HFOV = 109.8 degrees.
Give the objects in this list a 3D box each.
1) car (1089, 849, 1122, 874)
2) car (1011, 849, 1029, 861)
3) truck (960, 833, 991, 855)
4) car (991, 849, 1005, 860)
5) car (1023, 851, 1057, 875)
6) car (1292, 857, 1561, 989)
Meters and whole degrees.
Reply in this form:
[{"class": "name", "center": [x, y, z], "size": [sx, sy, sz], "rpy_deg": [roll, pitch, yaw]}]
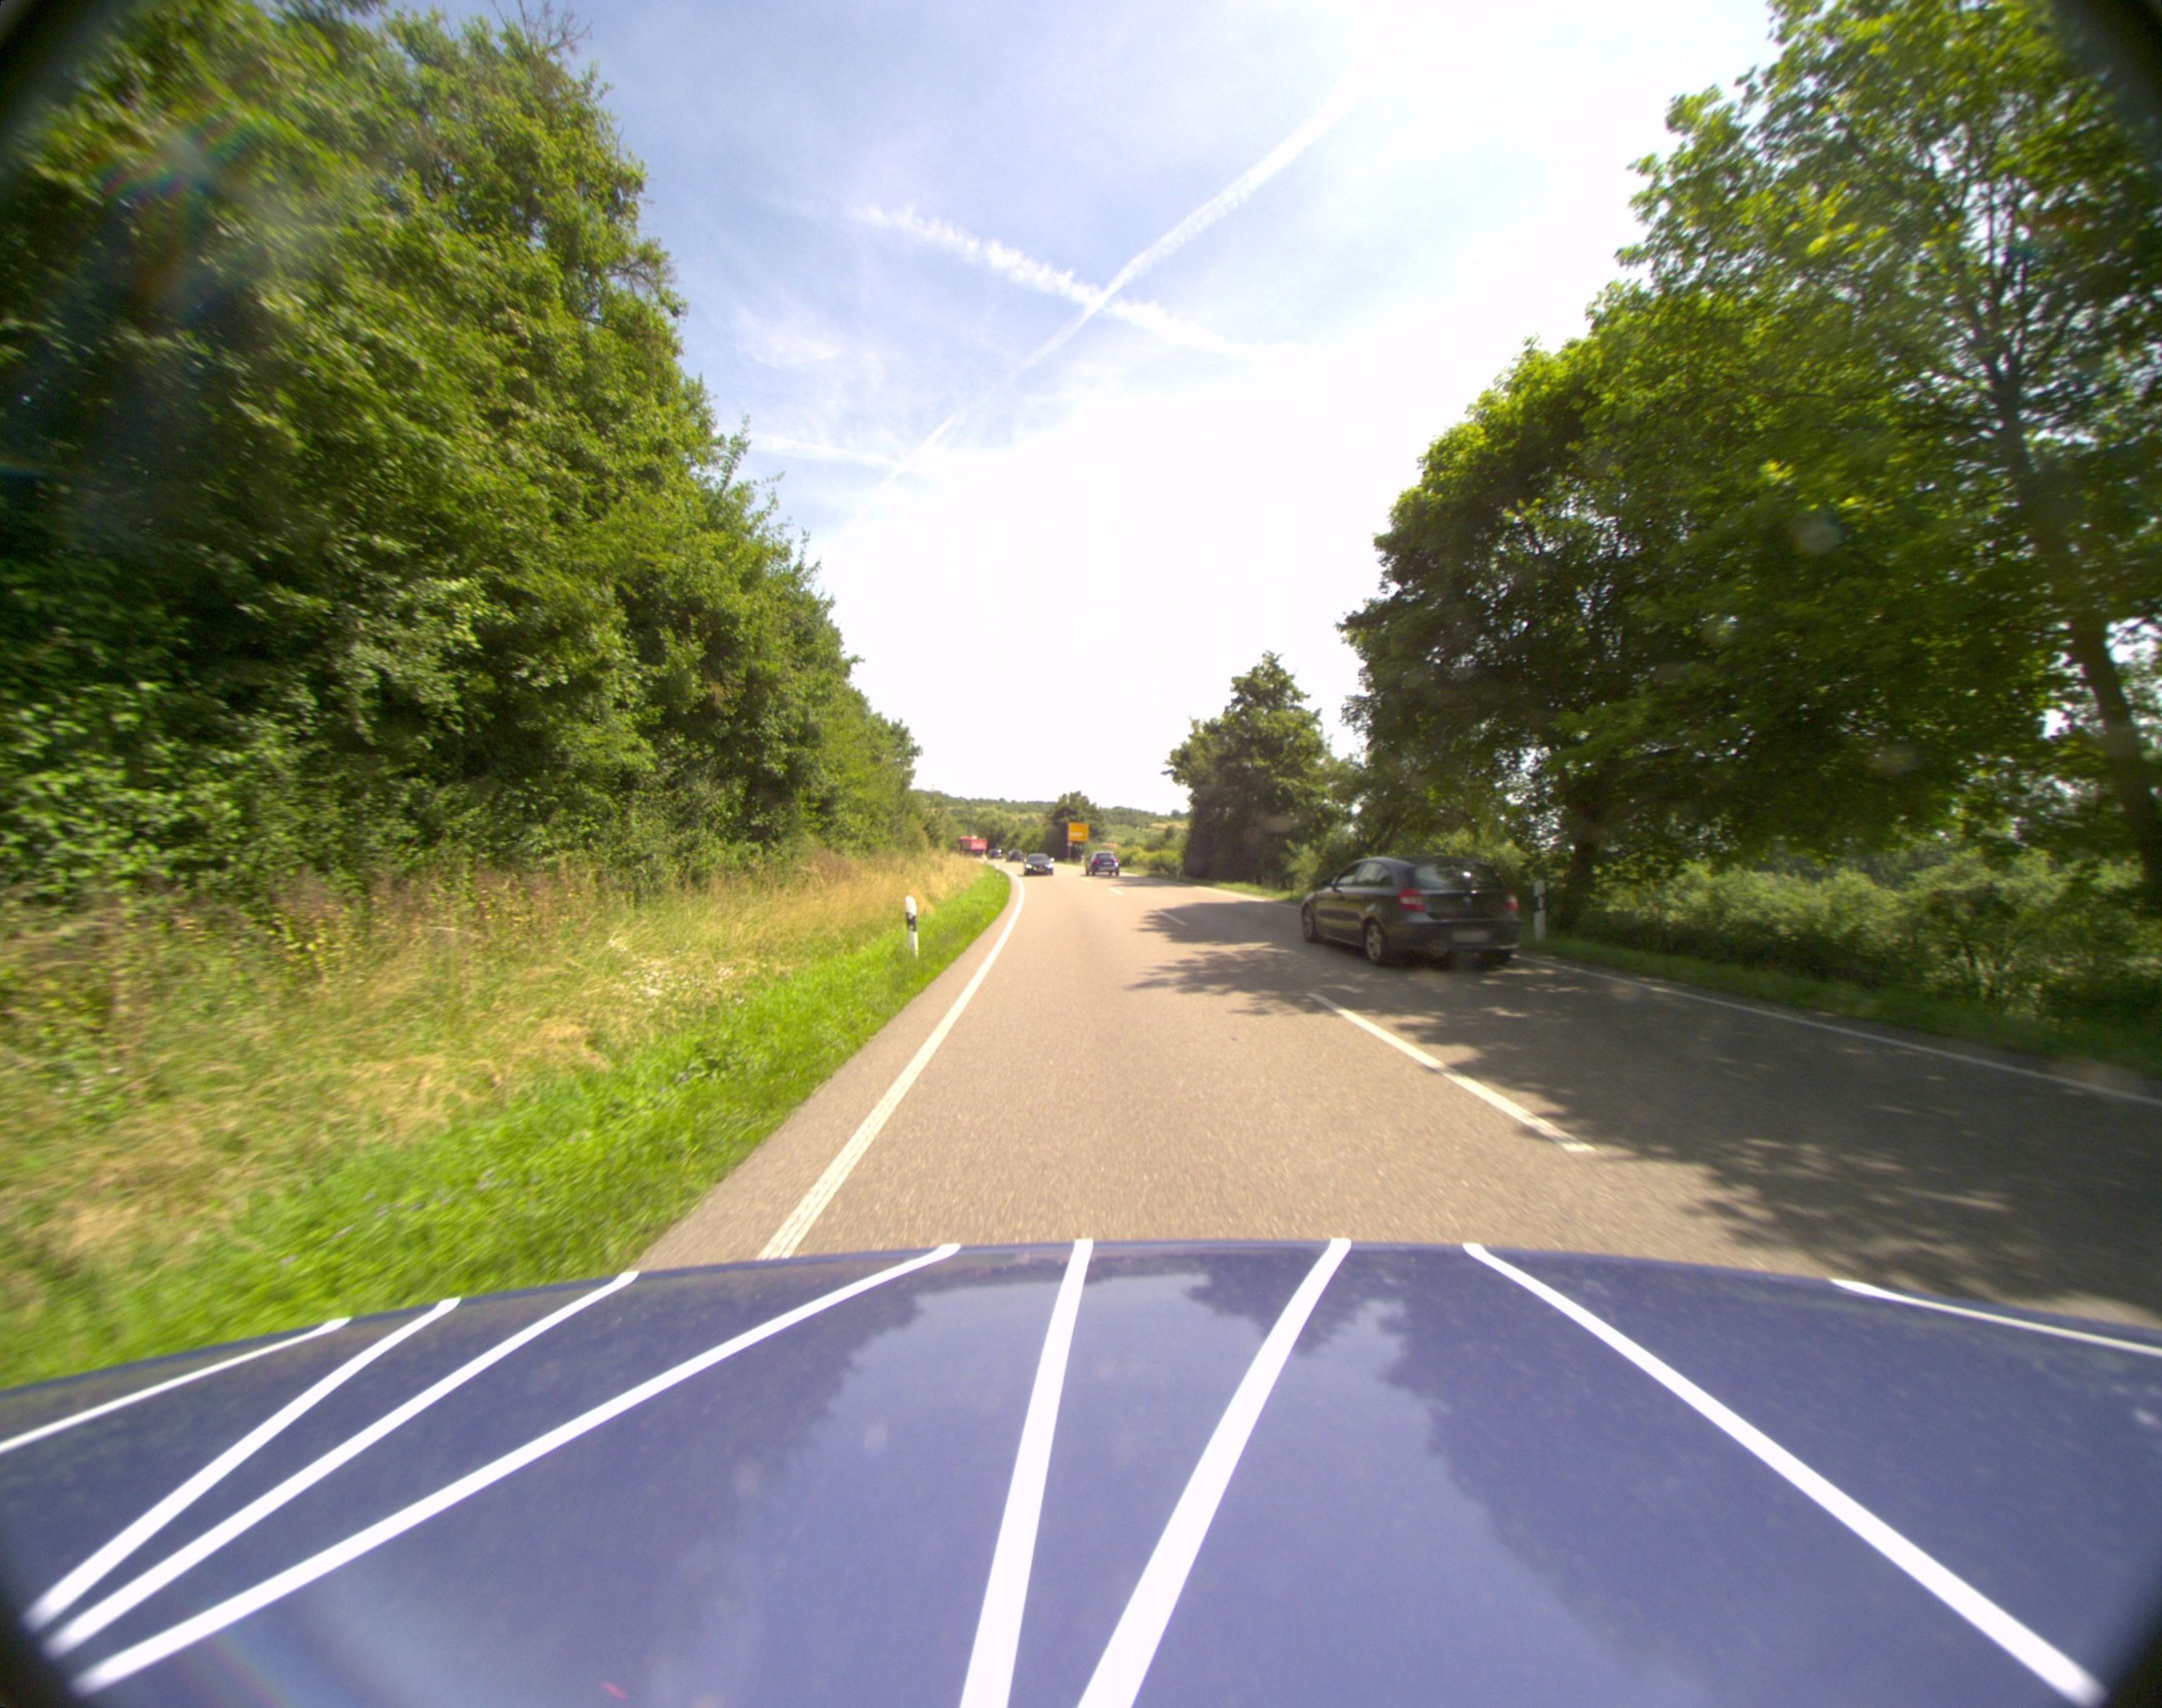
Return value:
[{"class": "car", "center": [1.473, 0.442, 47.872], "size": [1.675, 1.522, 3.956], "rpy_deg": [0, 1, -4]}, {"class": "car", "center": [-7.711, 0.082, 95.392], "size": [1.716, 1.462, 4.370], "rpy_deg": [-1, 1, -11]}, {"class": "truck", "center": [-18.045, -1.625, 128.974], "size": [2.563, 3.432, 12.612], "rpy_deg": [-1, 0, -20]}, {"class": "car", "center": [-12.172, 0.086, 111.396], "size": [1.435, 1.462, 3.266], "rpy_deg": [-1, 1, -17]}, {"class": "car", "center": [-2.838, 0.546, 51.254], "size": [1.786, 1.440, 4.600], "rpy_deg": [-3, 1, -8]}, {"class": "car", "center": [4.514, 0.788, 10.748], "size": [1.763, 1.423, 4.268], "rpy_deg": [-1, 0, -2]}]
